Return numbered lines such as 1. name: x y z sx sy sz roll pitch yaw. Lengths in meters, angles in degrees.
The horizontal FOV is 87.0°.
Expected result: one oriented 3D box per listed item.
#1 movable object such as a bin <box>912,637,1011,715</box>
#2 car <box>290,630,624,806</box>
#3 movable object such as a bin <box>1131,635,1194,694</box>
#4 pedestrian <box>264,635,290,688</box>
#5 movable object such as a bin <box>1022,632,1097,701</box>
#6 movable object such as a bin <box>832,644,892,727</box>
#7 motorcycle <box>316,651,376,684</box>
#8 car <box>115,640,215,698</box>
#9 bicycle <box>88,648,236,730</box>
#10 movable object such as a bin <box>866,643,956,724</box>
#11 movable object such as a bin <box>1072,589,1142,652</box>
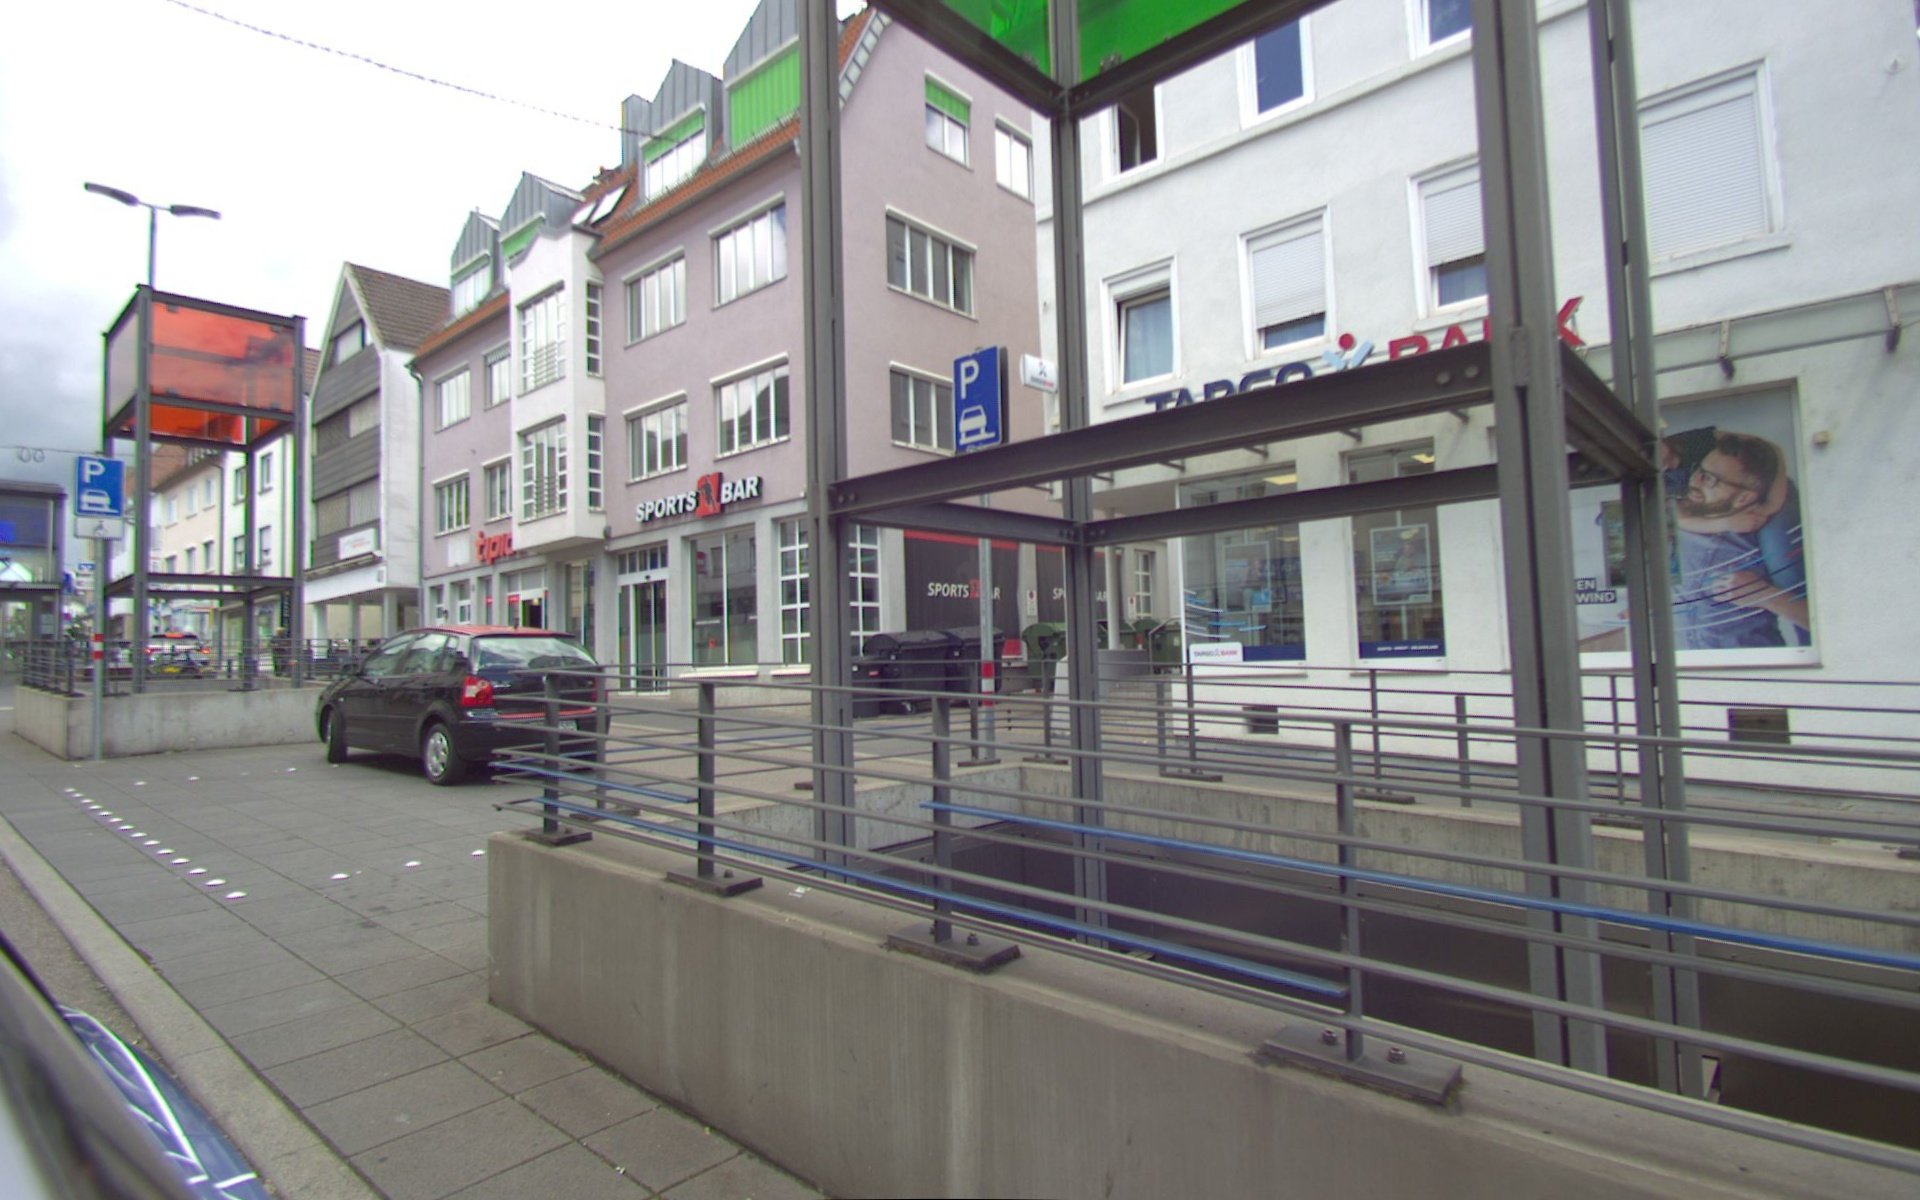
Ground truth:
1. movable object such as a bin: 0.031 1.412 19.281 1.406 1.387 1.270 -2 -3 41
2. car: -5.268 1.059 10.424 3.850 1.486 1.554 -1 -2 38
3. movable object such as a bin: 5.012 1.576 25.030 1.043 1.387 1.270 -2 -3 41
4. pedestrian: -22.642 2.030 33.545 0.513 1.729 0.584 -2 -1 41
5. movable object such as a bin: 2.108 1.381 21.438 1.043 1.387 1.270 -2 -3 41
6. movable object such as a bin: -1.702 1.466 17.610 0.807 1.387 0.682 -2 -3 41
7. motorcycle: -23.193 2.524 38.229 0.633 1.149 1.830 -2 -1 40
8. car: -24.415 2.056 31.030 4.120 1.583 1.662 -2 -1 41
9. bicycle: -12.658 1.384 16.104 0.459 1.232 1.760 -2 -3 40
10. movable object such as a bin: -0.881 1.478 18.315 1.067 1.387 1.270 -2 -3 41
11. movable object such as a bin: 3.366 0.471 23.141 1.043 1.387 1.270 -2 -3 41
